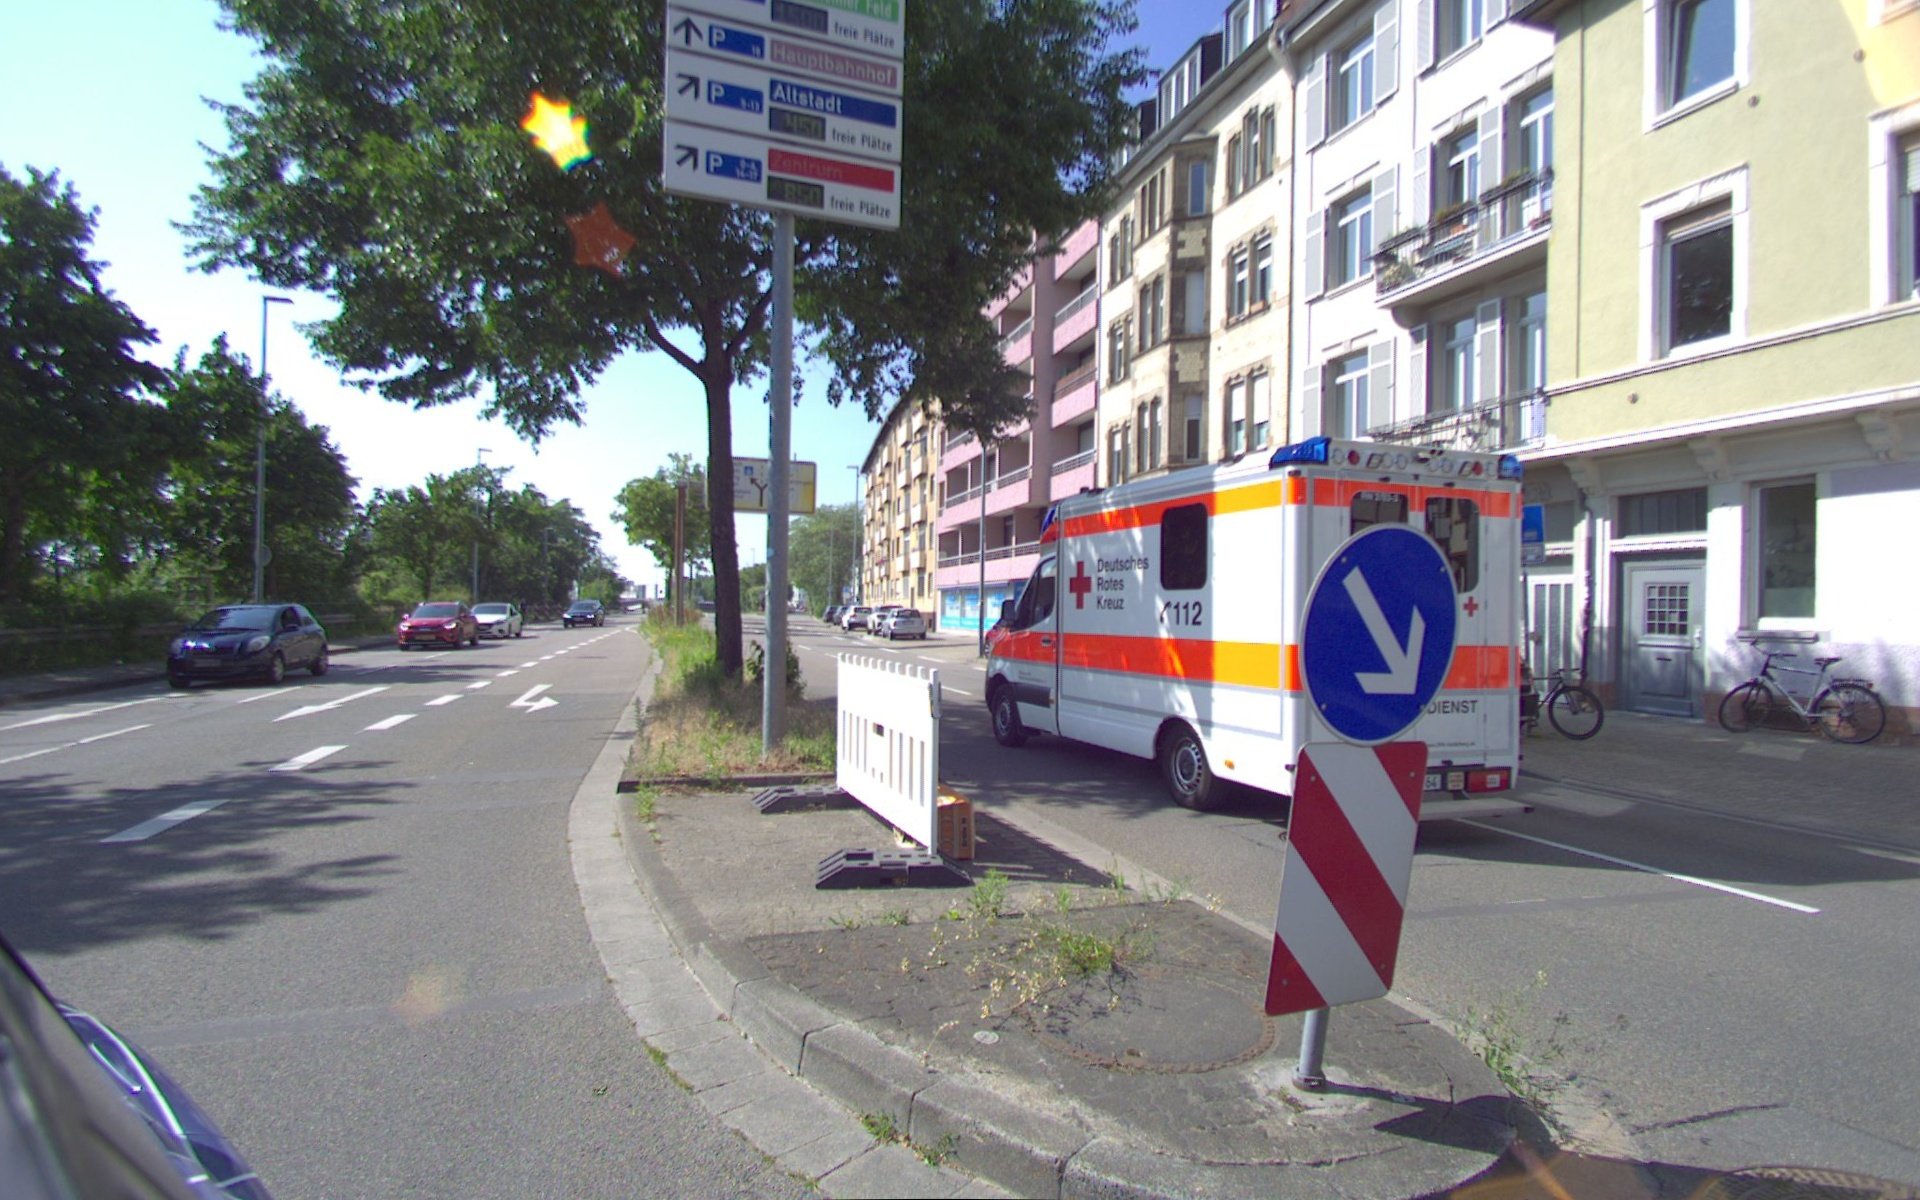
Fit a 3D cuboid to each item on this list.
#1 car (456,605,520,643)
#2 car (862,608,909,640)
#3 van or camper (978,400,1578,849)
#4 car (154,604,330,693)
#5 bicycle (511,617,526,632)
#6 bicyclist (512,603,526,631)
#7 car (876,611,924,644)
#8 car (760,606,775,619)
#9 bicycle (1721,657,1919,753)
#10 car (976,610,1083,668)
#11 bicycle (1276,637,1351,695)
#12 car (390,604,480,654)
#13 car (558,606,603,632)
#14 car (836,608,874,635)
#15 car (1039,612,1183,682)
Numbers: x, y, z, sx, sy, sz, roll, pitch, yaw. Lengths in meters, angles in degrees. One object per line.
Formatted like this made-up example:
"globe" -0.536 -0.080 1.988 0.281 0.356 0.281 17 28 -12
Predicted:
"car" -19.369 0.968 41.681 1.838 1.464 4.217 0 0 -17
"car" -3.792 1.178 50.870 1.713 1.553 4.365 1 -1 -13
"van or camper" 2.288 0.210 9.344 2.264 2.810 5.589 2 -1 -21
"car" -13.665 0.856 19.506 1.618 1.512 3.660 -1 0 -15
"bicycle" -24.317 1.348 55.743 0.487 0.839 1.811 1 -1 -14
"bicyclist" -24.321 0.921 55.793 0.565 1.545 0.781 1 -1 -14
"car" -2.756 1.219 46.077 1.656 1.419 3.439 -1 0 -12
"car" -24.683 1.603 129.879 1.599 1.517 3.468 2 -1 -9
"bicycle" 10.676 1.236 12.444 0.599 0.952 2.121 -1 0 -19
"car" 1.862 1.043 28.452 1.760 1.493 4.011 0 0 -15
"bicycle" 7.642 1.407 21.967 0.646 1.155 1.631 -1 0 -19
"car" -16.911 0.903 32.787 1.772 1.531 3.975 0 -1 -15
"car" -21.918 1.089 58.563 1.966 1.422 4.628 0 0 -14
"car" -6.319 1.281 60.462 1.733 1.517 4.138 2 -1 -13
"car" 3.400 1.035 23.553 1.619 1.464 4.139 1 -1 -18
